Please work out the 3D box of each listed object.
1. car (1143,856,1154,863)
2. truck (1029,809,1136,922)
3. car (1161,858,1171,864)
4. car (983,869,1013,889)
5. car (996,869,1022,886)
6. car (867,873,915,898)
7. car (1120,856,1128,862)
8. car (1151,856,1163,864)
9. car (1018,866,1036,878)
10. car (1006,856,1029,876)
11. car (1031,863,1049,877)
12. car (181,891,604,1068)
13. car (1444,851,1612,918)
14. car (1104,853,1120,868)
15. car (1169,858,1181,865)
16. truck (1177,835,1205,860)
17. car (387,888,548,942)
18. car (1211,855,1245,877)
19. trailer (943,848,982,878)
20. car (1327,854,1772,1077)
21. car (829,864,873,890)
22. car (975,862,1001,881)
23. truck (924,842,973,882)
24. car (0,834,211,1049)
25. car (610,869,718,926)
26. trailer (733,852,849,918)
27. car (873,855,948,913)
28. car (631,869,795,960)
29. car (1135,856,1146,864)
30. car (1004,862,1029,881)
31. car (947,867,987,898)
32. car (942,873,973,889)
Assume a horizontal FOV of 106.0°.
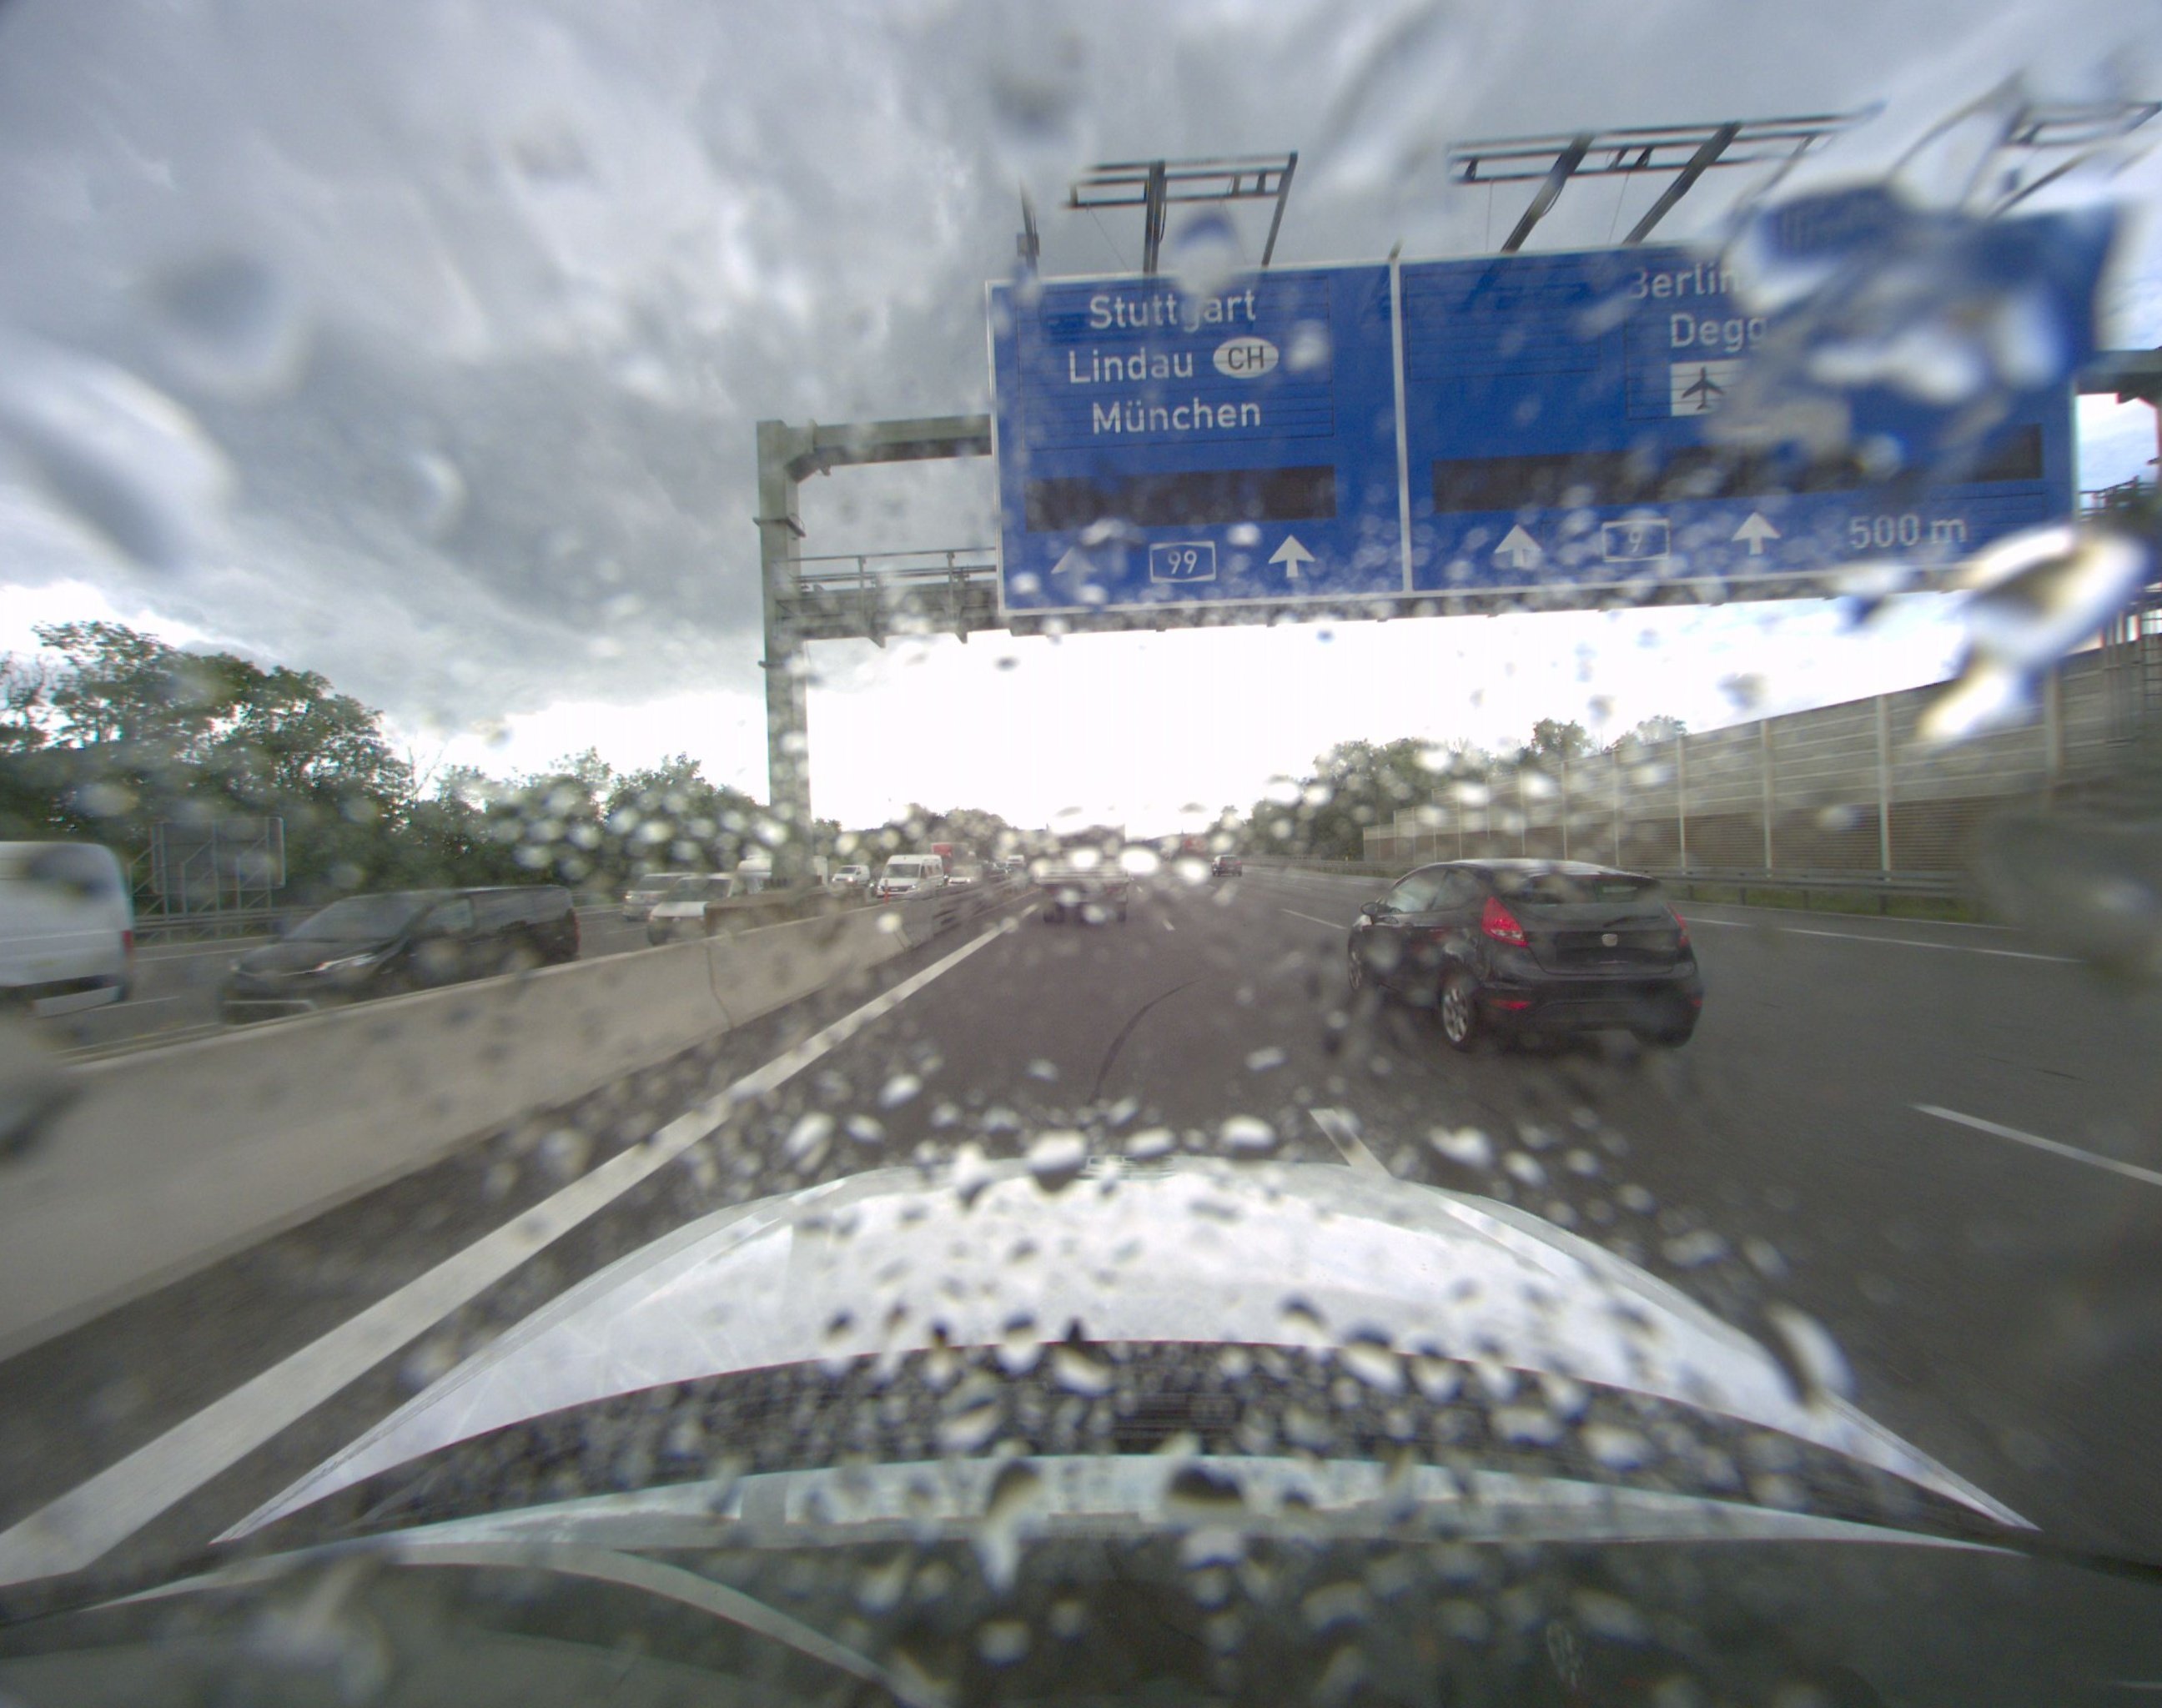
[{"bbox_3d":[15.490,1.224,187.570,1.962,1.561,4.430,-2,-1,-1],"label":"car"},{"bbox_3d":[0.131,0.302,21.375,2.298,2.440,7.150,-1,-1,2],"label":"truck"},{"bbox_3d":[21.181,1.700,202.734,1.962,1.561,4.431,-2,-1,-1],"label":"car"},{"bbox_3d":[-6.838,2.066,67.494,1.887,1.460,4.479,-2,0,2],"label":"car"},{"bbox_3d":[-6.766,2.186,77.316,1.887,1.488,4.479,-2,0,2],"label":"car"},{"bbox_3d":[-12.089,1.976,52.109,1.811,1.424,4.481,0,0,3],"label":"car"},{"bbox_3d":[11.991,1.399,225.232,1.962,1.561,4.432,-2,0,0],"label":"car"},{"bbox_3d":[15.355,1.159,164.682,1.962,1.561,4.431,-2,-1,-1],"label":"car"},{"bbox_3d":[-6.092,1.997,91.942,1.616,1.297,4.252,-2,0,2],"label":"car"},{"bbox_3d":[-8.973,1.644,115.999,2.118,2.636,7.616,-2,0,4],"label":"car"},{"bbox_3d":[-5.314,2.071,106.504,1.887,1.801,5.572,-2,0,2],"label":"car"},{"bbox_3d":[-10.014,1.654,12.670,1.811,1.904,5.426,-2,-1,2],"label":"car"},{"bbox_3d":[10.836,0.684,20.139,1.942,1.418,4.235,-2,0,3],"label":"car"},{"bbox_3d":[3.470,0.716,91.008,1.711,1.624,4.280,-1,1,1],"label":"car"},{"bbox_3d":[20.758,1.605,179.618,1.962,1.561,4.431,-2,-1,-1],"label":"car"},{"bbox_3d":[16.394,-1.019,122.292,3.139,3.601,12.710,0,0,3],"label":"truck"},{"bbox_3d":[-20.754,2.007,27.850,1.975,1.494,4.479,-2,0,2],"label":"car"},{"bbox_3d":[10.869,0.858,60.392,1.875,1.542,4.436,-2,-1,3],"label":"car"},{"bbox_3d":[-16.943,1.274,117.432,2.996,4.032,13.145,-2,0,2],"label":"trailer"},{"bbox_3d":[3.705,0.756,7.471,1.711,1.417,4.280,-1,-1,2],"label":"car"},{"bbox_3d":[-18.936,1.853,67.308,1.886,1.912,5.142,-2,-1,3],"label":"car"},{"bbox_3d":[-10.132,1.888,89.323,1.886,1.962,5.591,-2,-1,3],"label":"car"},{"bbox_3d":[-14.575,0.867,90.485,2.787,4.112,12.301,-2,0,2],"label":"truck"},{"bbox_3d":[-14.430,1.104,8.561,2.041,2.653,7.738,-2,0,2],"label":"car"},{"bbox_3d":[-17.082,1.705,33.638,1.975,2.078,4.479,-2,-1,2],"label":"car"},{"bbox_3d":[-12.930,1.297,37.015,2.332,2.653,7.188,-2,-1,3],"label":"trailer"},{"bbox_3d":[-8.589,1.433,41.862,2.016,2.678,7.314,-2,-1,2],"label":"car"},{"bbox_3d":[-9.765,1.497,22.207,1.811,2.078,5.377,-2,-1,2],"label":"car"},{"bbox_3d":[12.234,1.280,168.546,1.962,1.561,4.432,-2,-1,0],"label":"car"},{"bbox_3d":[-6.705,1.797,85.596,1.887,1.801,5.844,-2,0,2],"label":"car"},{"bbox_3d":[-7.847,1.932,56.499,1.811,1.952,5.225,-2,-1,2],"label":"car"},{"bbox_3d":[-11.193,2.463,74.037,1.887,1.297,4.582,-2,0,2],"label":"car"}]
